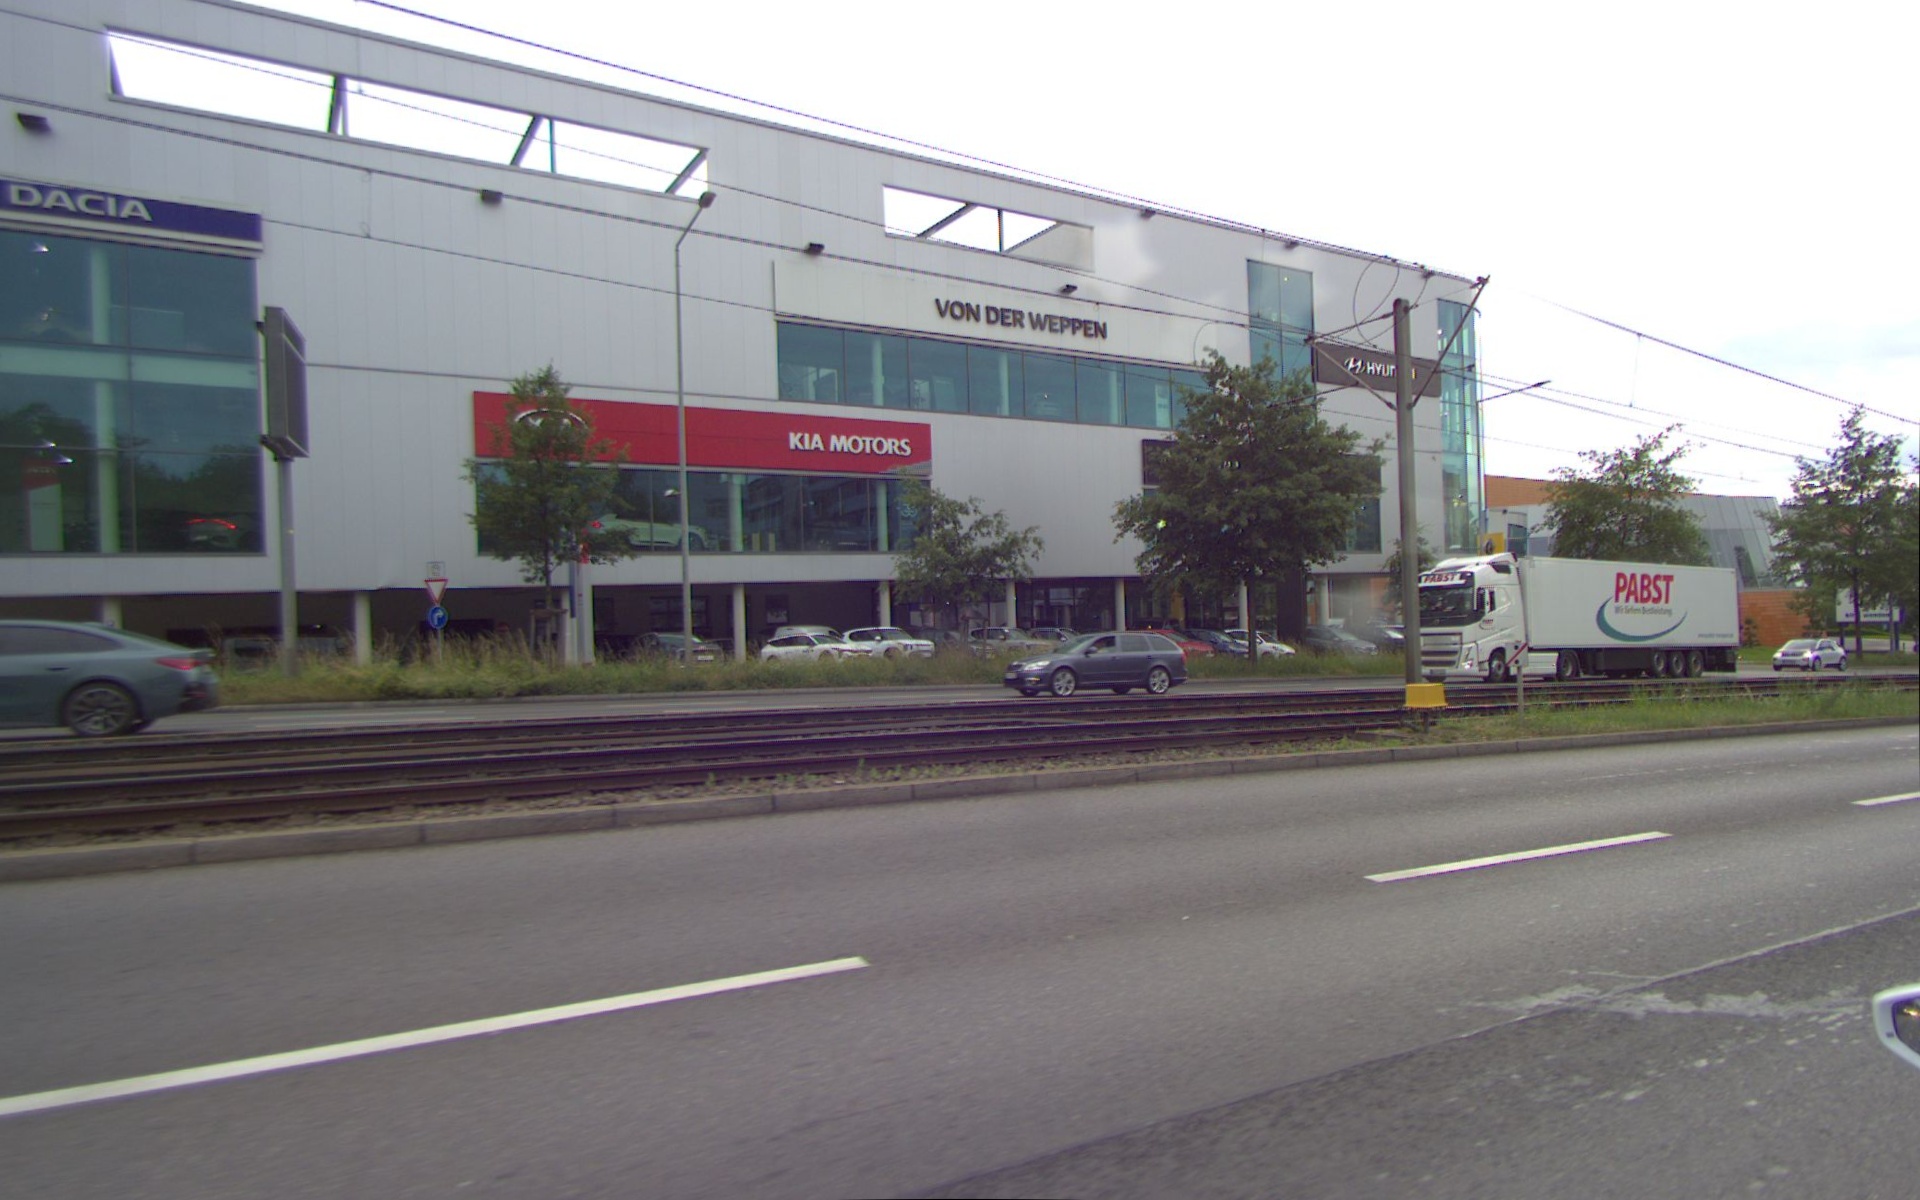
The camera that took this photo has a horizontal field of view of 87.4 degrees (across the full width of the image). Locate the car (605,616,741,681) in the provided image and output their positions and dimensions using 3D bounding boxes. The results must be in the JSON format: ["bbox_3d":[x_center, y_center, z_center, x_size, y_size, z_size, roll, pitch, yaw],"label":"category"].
[{"bbox_3d":[-9.415,1.535,32.778,4.901,1.958,2.009,-1,-2,43],"label":"car"}]

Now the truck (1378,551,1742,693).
[{"bbox_3d":[21.728,0.704,35.525,16.992,4.236,3.029,0,0,-29],"label":"truck"}]

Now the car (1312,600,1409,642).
[{"bbox_3d":[20.197,1.090,50.789,1.855,2.002,4.322,1,-2,-33],"label":"car"}]

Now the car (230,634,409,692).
[{"bbox_3d":[-21.123,2.027,33.361,4.885,1.748,1.983,1,0,-32],"label":"car"}]

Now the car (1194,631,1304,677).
[{"bbox_3d":[13.179,2.432,46.082,2.002,2.002,4.567,2,-2,-38],"label":"car"}]

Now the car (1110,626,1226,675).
[{"bbox_3d":[8.950,2.125,43.416,4.551,2.002,2.009,-1,-2,42],"label":"car"}]

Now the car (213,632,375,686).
[{"bbox_3d":[-24.642,2.146,37.361,4.888,1.816,1.981,1,0,-34],"label":"car"}]

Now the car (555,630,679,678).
[{"bbox_3d":[-15.143,2.333,44.482,4.888,1.936,1.981,1,0,-34],"label":"car"}]

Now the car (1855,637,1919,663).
[{"bbox_3d":[71.672,3.811,76.863,2.074,1.834,4.301,0,0,-30],"label":"car"}]

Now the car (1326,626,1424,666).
[{"bbox_3d":[22.109,2.419,53.687,1.999,2.002,4.574,1,-2,-33],"label":"car"}]

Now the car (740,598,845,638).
[{"bbox_3d":[-8.288,0.888,49.858,4.794,1.936,1.981,1,0,-34],"label":"car"}]

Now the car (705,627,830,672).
[{"bbox_3d":[-7.631,1.908,39.780,4.551,1.686,2.018,-1,-2,26],"label":"car"}]

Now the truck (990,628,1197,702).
[{"bbox_3d":[3.115,1.506,23.433,4.483,1.588,1.937,2,-3,-25],"label":"truck"}]

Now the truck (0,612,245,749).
[{"bbox_3d":[-11.795,0.979,12.466,4.540,1.588,1.933,2,-4,-31],"label":"truck"}]

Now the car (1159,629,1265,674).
[{"bbox_3d":[11.172,2.264,44.728,1.870,1.889,4.302,2,-2,-43],"label":"car"}]

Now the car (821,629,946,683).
[{"bbox_3d":[-2.847,1.985,36.706,4.572,1.851,2.009,-1,-2,42],"label":"car"}]

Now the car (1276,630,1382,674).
[{"bbox_3d":[17.802,2.463,48.679,1.999,2.002,4.574,1,-2,-33],"label":"car"}]

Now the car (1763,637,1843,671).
[{"bbox_3d":[41.694,2.670,49.678,3.846,1.564,1.657,2,-1,-27],"label":"car"}]

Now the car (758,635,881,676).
[{"bbox_3d":[-4.946,1.899,35.190,4.268,1.324,1.864,-1,-2,38],"label":"car"}]

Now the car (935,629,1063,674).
[{"bbox_3d":[1.477,1.978,39.773,4.947,1.675,2.009,-1,-2,43],"label":"car"}]
